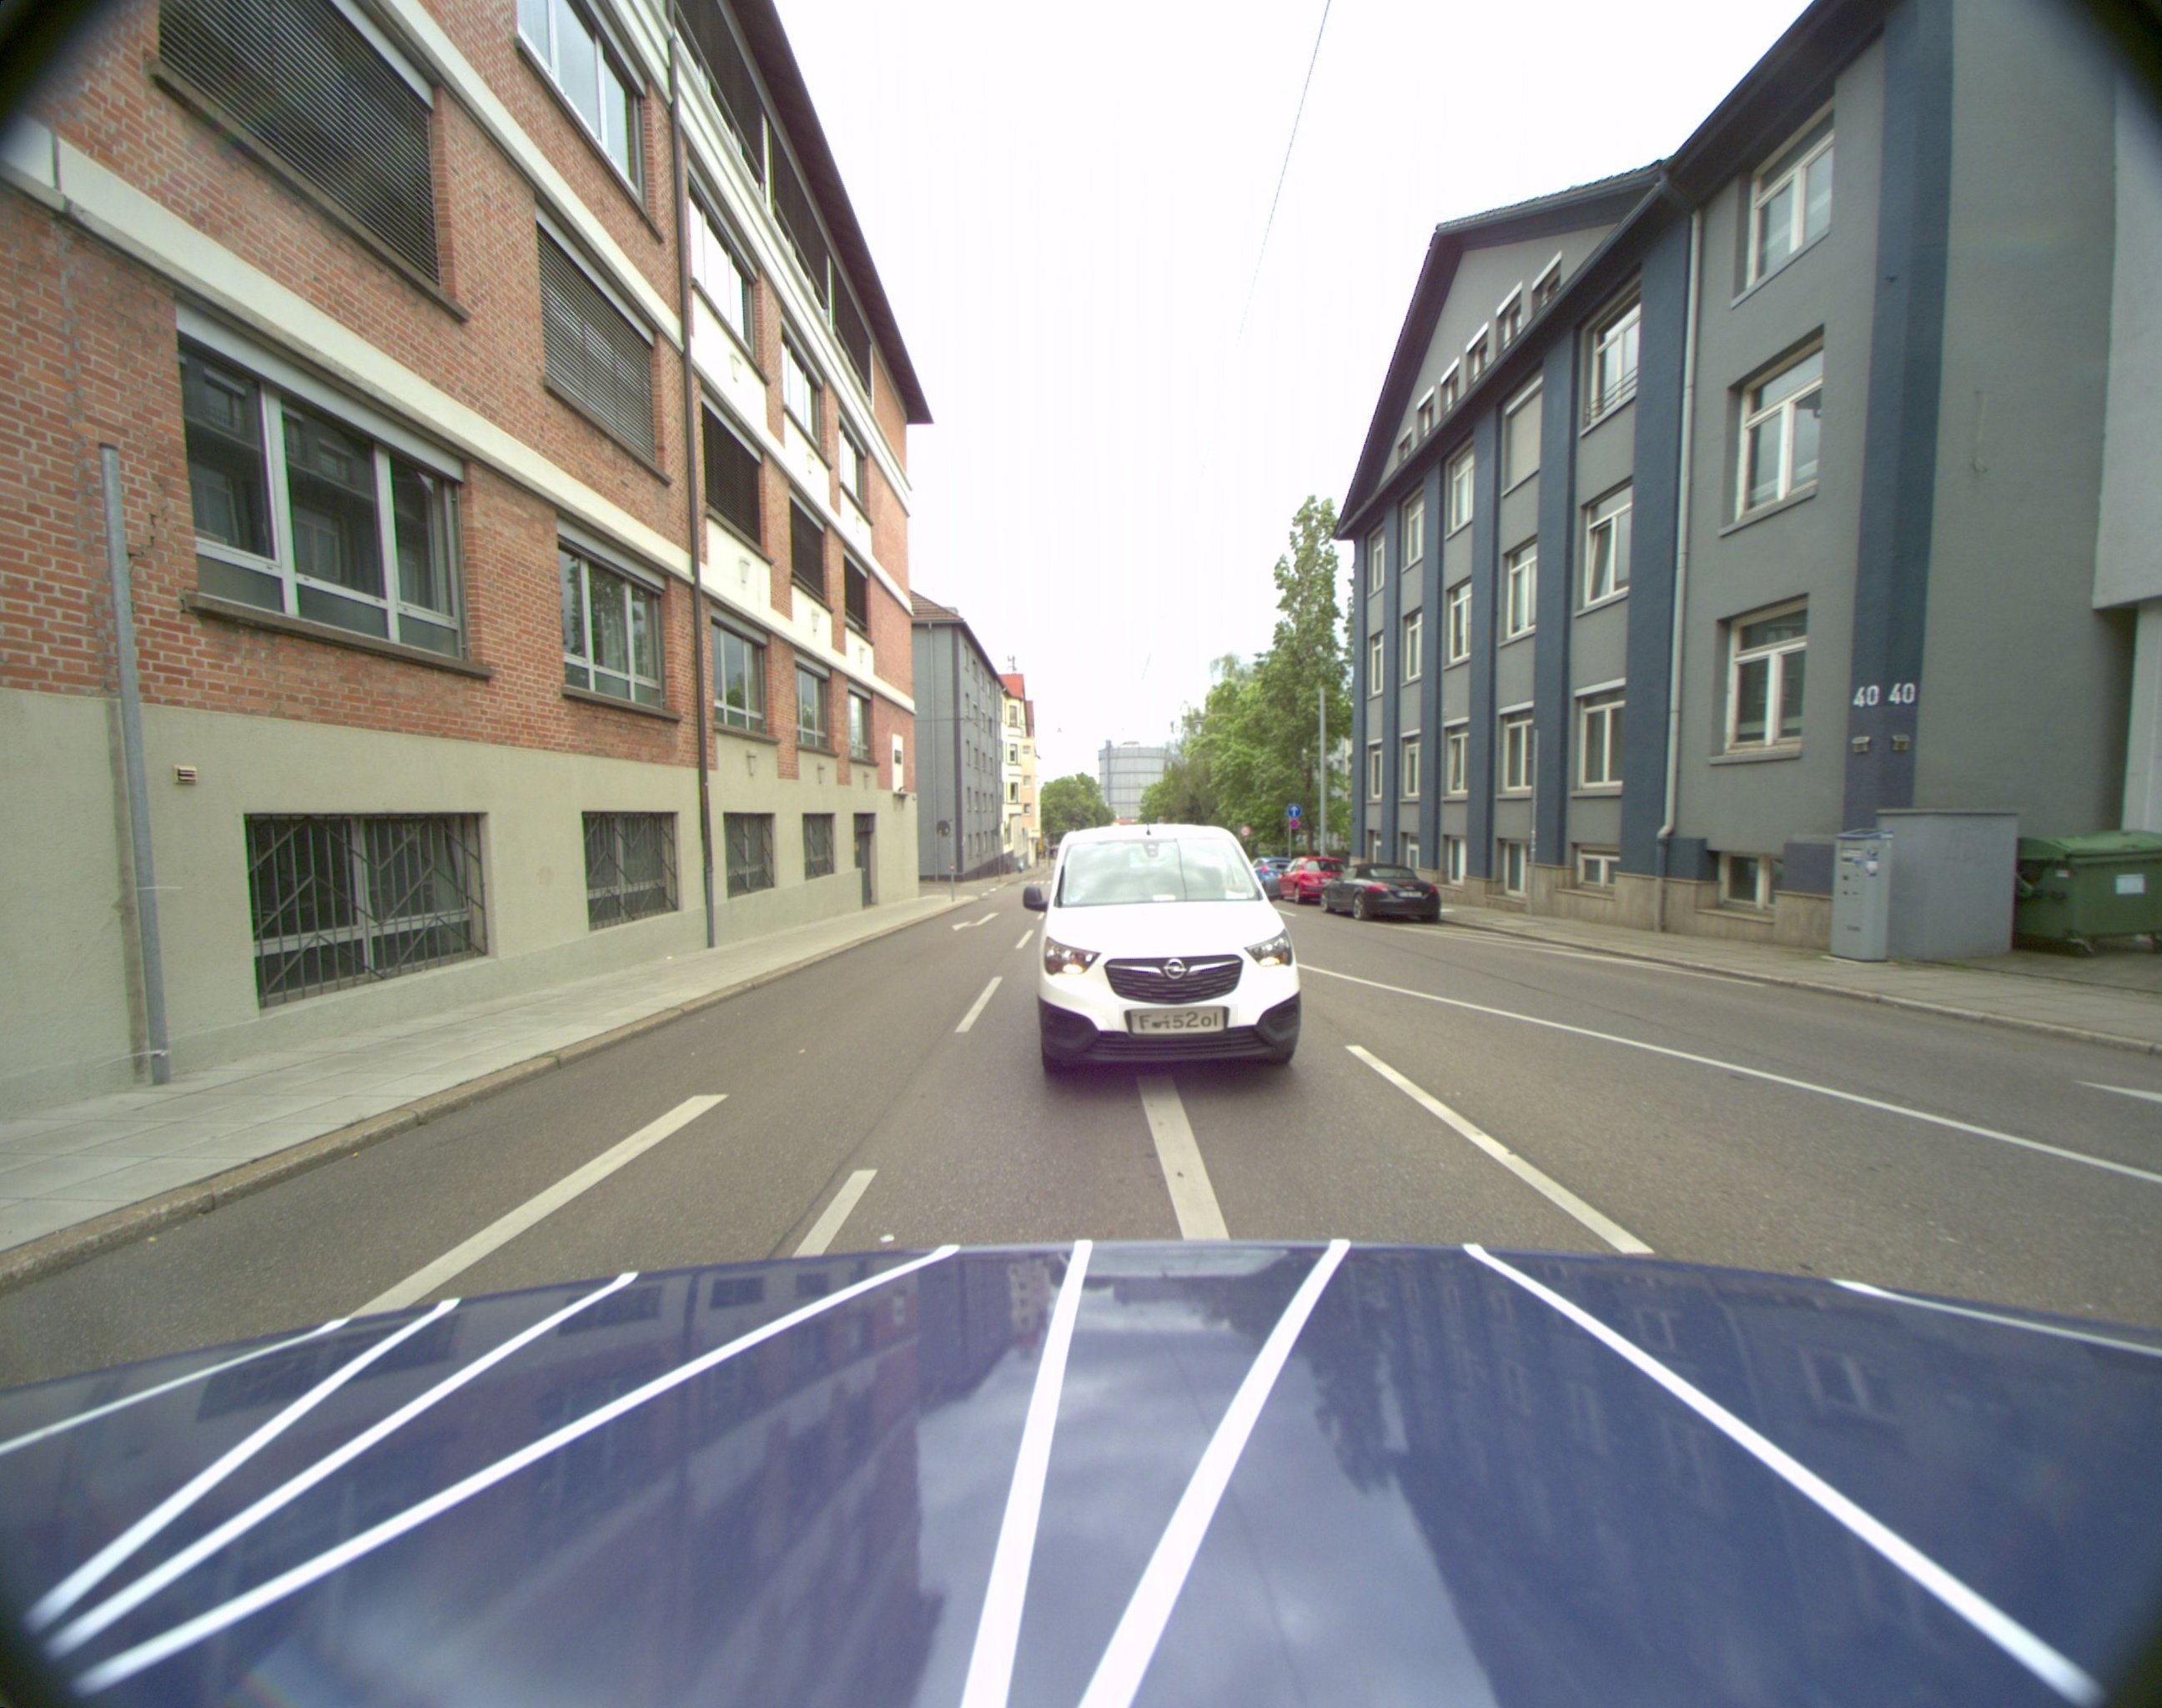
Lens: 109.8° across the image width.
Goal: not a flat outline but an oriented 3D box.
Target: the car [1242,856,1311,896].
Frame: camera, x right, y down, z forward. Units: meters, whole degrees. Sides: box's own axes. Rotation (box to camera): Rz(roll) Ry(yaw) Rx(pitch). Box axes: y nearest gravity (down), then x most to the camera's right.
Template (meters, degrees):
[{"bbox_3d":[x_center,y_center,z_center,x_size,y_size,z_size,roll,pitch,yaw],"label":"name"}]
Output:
[{"bbox_3d":[7.582,0.817,29.773,1.724,1.445,3.727,1,0,0],"label":"car"}]

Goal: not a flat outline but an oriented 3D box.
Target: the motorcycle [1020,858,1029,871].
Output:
[{"bbox_3d":[-5.051,0.944,68.503,0.566,1.105,1.653,4,0,2],"label":"motorcycle"}]

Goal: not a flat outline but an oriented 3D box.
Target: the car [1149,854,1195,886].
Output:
[{"bbox_3d":[4.518,0.761,38.312,1.790,1.410,4.670,2,0,1],"label":"car"}]

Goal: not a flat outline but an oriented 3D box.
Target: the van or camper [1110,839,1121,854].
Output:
[{"bbox_3d":[6.794,-1.482,149.784,1.914,2.754,5.925,1,0,2],"label":"van or camper"}]

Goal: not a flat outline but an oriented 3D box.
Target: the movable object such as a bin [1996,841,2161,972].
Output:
[{"bbox_3d":[12.101,0.601,9.103,1.267,1.448,0.784,-3,2,4],"label":"movable object such as a bin"}]

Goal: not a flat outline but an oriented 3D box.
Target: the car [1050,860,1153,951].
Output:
[{"bbox_3d":[0.403,0.895,14.770,1.724,1.486,3.727,1,0,2],"label":"car"}]

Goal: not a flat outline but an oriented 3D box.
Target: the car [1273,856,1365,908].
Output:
[{"bbox_3d":[7.501,0.832,24.370,1.819,1.465,3.869,2,0,2],"label":"car"}]

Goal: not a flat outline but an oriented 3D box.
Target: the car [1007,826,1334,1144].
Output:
[{"bbox_3d":[0.571,0.763,6.918,1.840,1.797,4.939,-2,0,1],"label":"car"}]

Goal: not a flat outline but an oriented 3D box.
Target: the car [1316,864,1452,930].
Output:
[{"bbox_3d":[7.204,0.962,18.519,1.724,1.319,4.041,2,0,1],"label":"car"}]

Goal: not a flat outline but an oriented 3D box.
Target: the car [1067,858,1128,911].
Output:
[{"bbox_3d":[0.519,0.875,23.439,1.724,1.486,3.727,1,0,2],"label":"car"}]

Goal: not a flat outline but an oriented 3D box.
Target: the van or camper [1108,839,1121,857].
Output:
[{"bbox_3d":[5.241,-0.960,119.935,1.914,2.754,5.925,1,0,2],"label":"van or camper"}]

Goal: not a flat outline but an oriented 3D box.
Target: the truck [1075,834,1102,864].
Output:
[{"bbox_3d":[0.993,-0.566,94.047,2.980,3.394,9.358,-2,0,1],"label":"truck"}]
